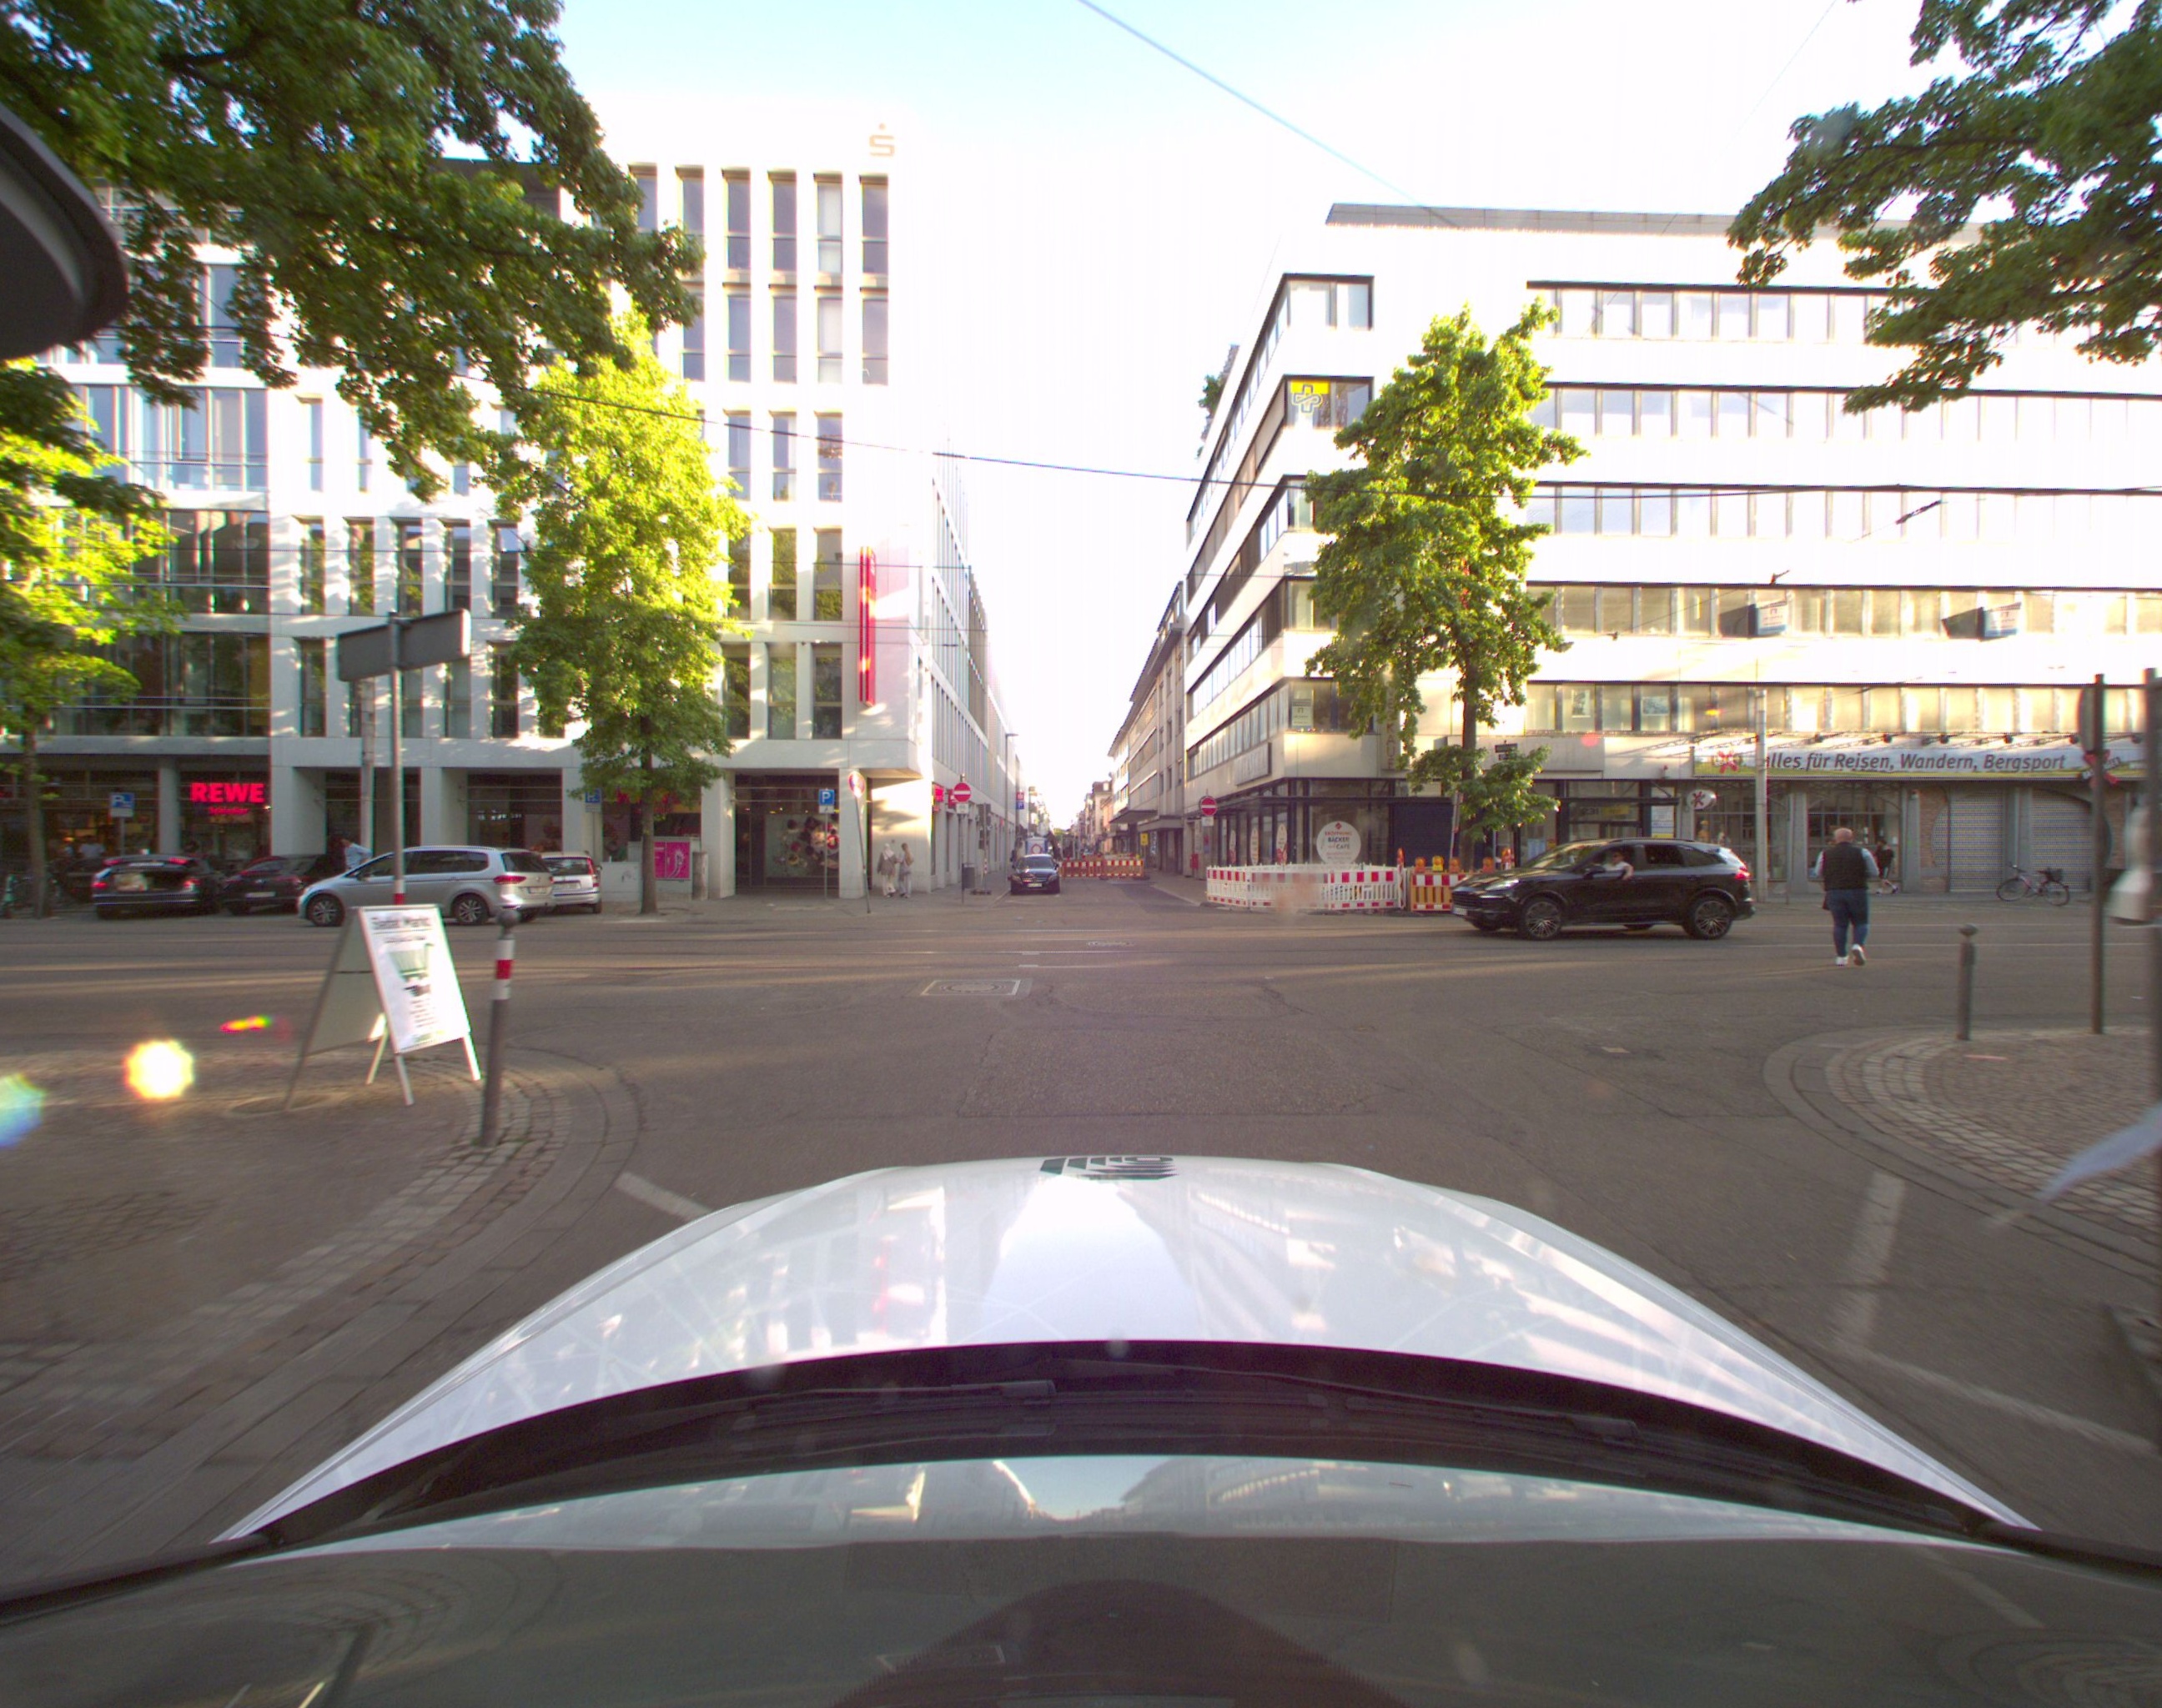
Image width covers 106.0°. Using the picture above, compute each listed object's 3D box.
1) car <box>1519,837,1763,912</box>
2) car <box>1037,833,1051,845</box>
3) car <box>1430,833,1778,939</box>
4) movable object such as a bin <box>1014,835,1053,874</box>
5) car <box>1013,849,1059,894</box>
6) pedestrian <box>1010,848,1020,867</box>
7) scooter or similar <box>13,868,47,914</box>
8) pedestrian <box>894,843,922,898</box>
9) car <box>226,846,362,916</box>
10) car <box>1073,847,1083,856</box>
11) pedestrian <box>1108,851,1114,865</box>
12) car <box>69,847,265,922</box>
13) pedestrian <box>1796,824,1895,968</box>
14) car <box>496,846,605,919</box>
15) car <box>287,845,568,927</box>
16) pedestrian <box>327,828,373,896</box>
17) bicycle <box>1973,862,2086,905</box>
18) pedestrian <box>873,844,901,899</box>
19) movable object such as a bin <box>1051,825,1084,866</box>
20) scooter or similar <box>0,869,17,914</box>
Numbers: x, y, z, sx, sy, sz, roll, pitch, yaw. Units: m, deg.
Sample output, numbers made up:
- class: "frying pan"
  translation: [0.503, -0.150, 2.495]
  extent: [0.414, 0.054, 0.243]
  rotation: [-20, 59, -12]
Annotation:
- class: "car"
  translation: [14.271, 0.494, 20.951]
  extent: [4.917, 1.775, 2.021]
  rotation: [0, 3, -2]
- class: "car"
  translation: [-5.667, -2.262, 125.205]
  extent: [1.988, 1.776, 3.998]
  rotation: [-1, 1, -1]
- class: "car"
  translation: [9.036, 0.528, 14.368]
  extent: [4.917, 1.726, 2.021]
  rotation: [0, 0, -2]
- class: "movable object such as a bin"
  translation: [-2.628, 0.004, 45.798]
  extent: [1.988, 2.013, 3.998]
  rotation: [-1, 1, -1]
- class: "car"
  translation: [-1.724, 0.620, 30.557]
  extent: [1.626, 1.550, 3.137]
  rotation: [-1, 1, -5]
- class: "pedestrian"
  translation: [-5.187, 0.291, 63.825]
  extent: [0.713, 1.464, 0.525]
  rotation: [-1, 0, 1]
- class: "scooter or similar"
  translation: [-26.256, 0.895, 20.357]
  extent: [1.783, 1.070, 0.392]
  rotation: [0, 0, 42]
- class: "pedestrian"
  translation: [-5.266, 0.492, 24.757]
  extent: [0.613, 1.627, 0.865]
  rotation: [-1, 0, -26]
- class: "car"
  translation: [-20.332, 0.615, 21.222]
  extent: [1.594, 1.505, 3.560]
  rotation: [-1, 3, -28]
- class: "car"
  translation: [-0.660, -0.454, 169.945]
  extent: [1.988, 1.776, 3.998]
  rotation: [-1, 1, -1]
- class: "pedestrian"
  translation: [3.030, 0.421, 82.568]
  extent: [0.521, 1.464, 0.719]
  rotation: [0, 0, 6]
- class: "car"
  translation: [-22.535, 0.652, 20.310]
  extent: [1.956, 1.505, 3.962]
  rotation: [-1, 3, -28]
- class: "pedestrian"
  translation: [10.007, 0.512, 10.701]
  extent: [0.795, 1.776, 1.079]
  rotation: [-1, 0, 36]
- class: "car"
  translation: [-13.410, 0.628, 20.815]
  extent: [1.956, 1.505, 3.962]
  rotation: [-1, 3, -28]
- class: "car"
  translation: [-13.458, 0.645, 17.002]
  extent: [4.261, 1.593, 1.826]
  rotation: [0, -2, -3]
- class: "pedestrian"
  translation: [-17.982, 0.185, 20.049]
  extent: [0.642, 1.627, 0.638]
  rotation: [0, 0, -22]
- class: "bicycle"
  translation: [25.890, 0.781, 22.288]
  extent: [0.666, 0.952, 2.025]
  rotation: [-1, 3, -3]
- class: "pedestrian"
  translation: [-5.800, 0.512, 24.378]
  extent: [0.613, 1.627, 0.865]
  rotation: [-1, 0, -26]
- class: "movable object such as a bin"
  translation: [-0.924, -0.567, 55.784]
  extent: [2.151, 2.663, 4.570]
  rotation: [0, 0, -2]
- class: "scooter or similar"
  translation: [-26.705, 0.910, 20.104]
  extent: [1.783, 1.070, 0.392]
  rotation: [0, 0, 42]
